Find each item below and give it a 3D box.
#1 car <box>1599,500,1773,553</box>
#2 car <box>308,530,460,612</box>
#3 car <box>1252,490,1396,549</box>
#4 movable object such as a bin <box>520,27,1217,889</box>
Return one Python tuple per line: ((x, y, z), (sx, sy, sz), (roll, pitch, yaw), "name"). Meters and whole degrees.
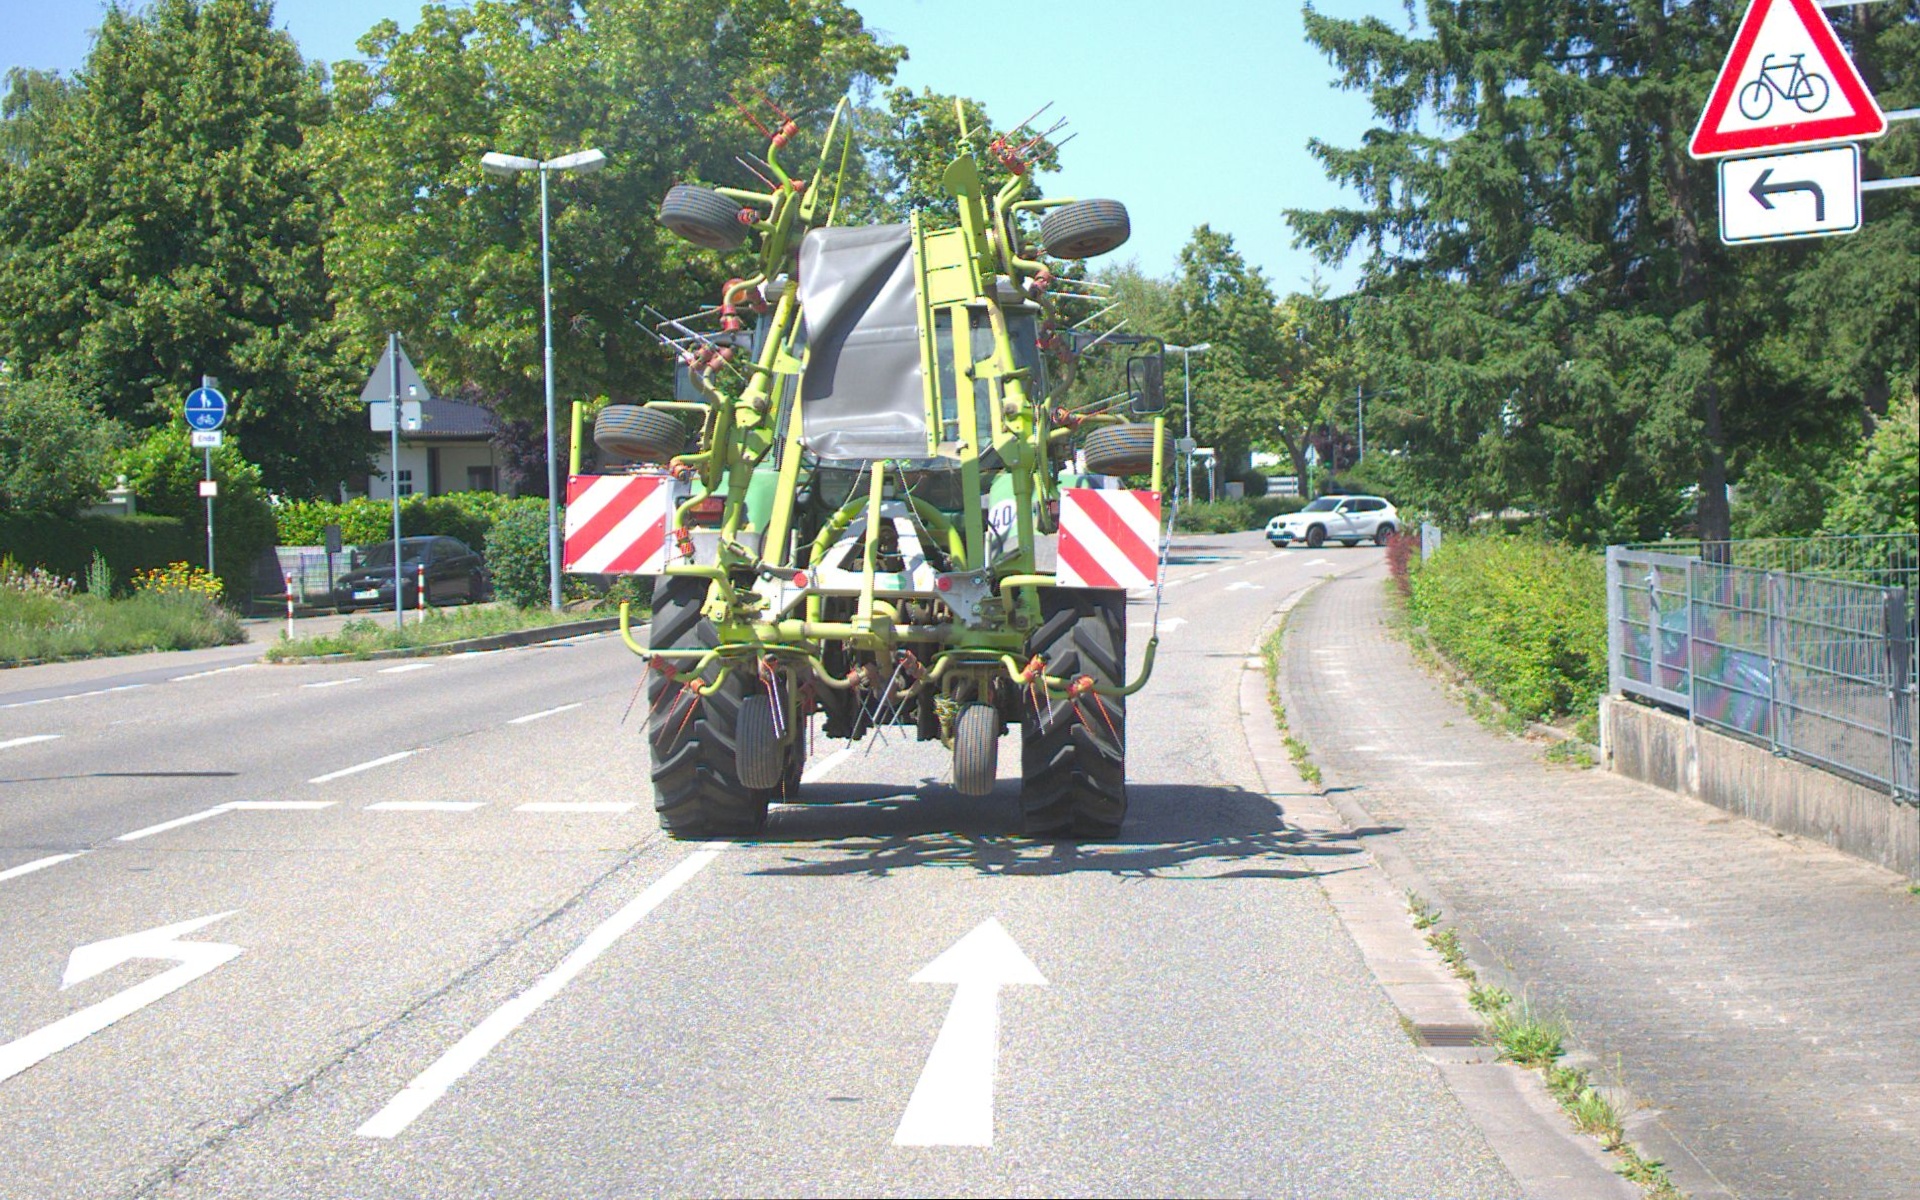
((17.751, -1.804, 84.119), (3.810, 1.290, 1.684), (0, 2, -8), "car")
((-11.121, -0.588, 66.639), (1.689, 1.525, 3.999), (0, 1, 10), "car")
((10.913, -2.409, 103.010), (3.987, 1.709, 1.863), (-1, 1, -32), "car")
((-0.112, -0.680, 19.050), (2.853, 3.529, 9.700), (-1, 1, 3), "movable object such as a bin")
